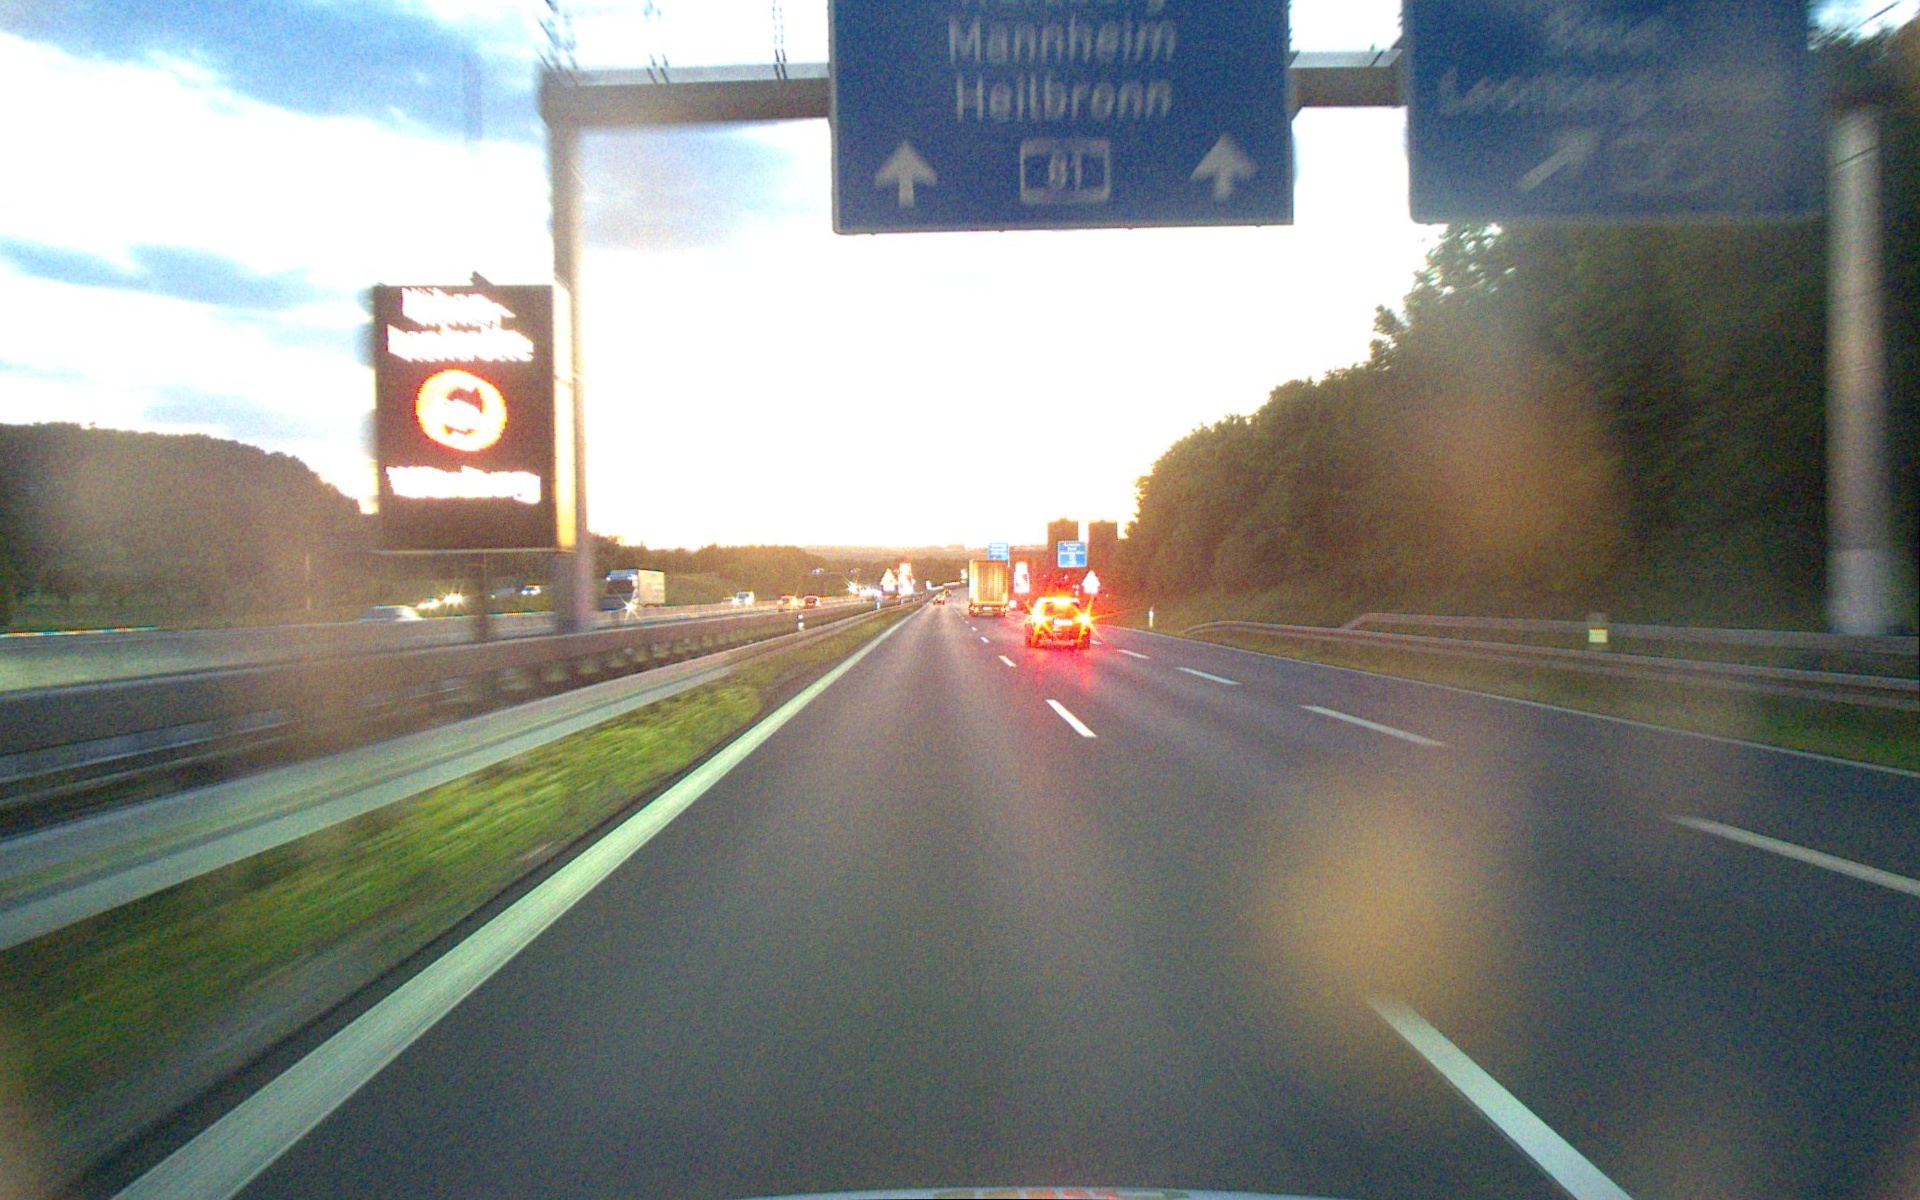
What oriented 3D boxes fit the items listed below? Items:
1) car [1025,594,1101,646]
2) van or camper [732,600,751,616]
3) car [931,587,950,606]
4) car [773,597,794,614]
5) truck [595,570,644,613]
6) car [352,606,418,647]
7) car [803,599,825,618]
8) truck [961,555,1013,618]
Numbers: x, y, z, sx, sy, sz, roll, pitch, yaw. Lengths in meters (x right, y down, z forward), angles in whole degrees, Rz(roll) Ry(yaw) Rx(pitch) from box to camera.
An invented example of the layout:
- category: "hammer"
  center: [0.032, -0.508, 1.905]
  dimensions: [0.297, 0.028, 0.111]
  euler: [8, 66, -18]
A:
- category: "car"
  center: [3.044, 0.585, 49.794]
  dimensions: [1.876, 1.467, 3.998]
  euler: [-2, 0, -2]
- category: "van or camper"
  center: [-26.809, 1.008, 202.878]
  dimensions: [1.852, 1.940, 5.538]
  euler: [0, 0, -2]
- category: "car"
  center: [-2.110, -0.384, 179.330]
  dimensions: [1.953, 2.049, 3.999]
  euler: [-2, 0, -1]
- category: "car"
  center: [-17.253, 0.517, 161.815]
  dimensions: [1.604, 1.573, 3.394]
  euler: [-2, 0, -1]
- category: "truck"
  center: [-30.145, -0.761, 146.610]
  dimensions: [3.243, 3.682, 5.496]
  euler: [-1, 0, -1]
- category: "car"
  center: [-25.306, 1.151, 72.884]
  dimensions: [1.648, 1.736, 3.751]
  euler: [0, 0, -1]
- category: "car"
  center: [-12.992, 0.734, 147.283]
  dimensions: [1.678, 1.634, 3.721]
  euler: [-2, 0, -1]
- category: "truck"
  center: [1.907, -0.931, 122.187]
  dimensions: [3.439, 4.376, 9.888]
  euler: [-1, 0, -1]
